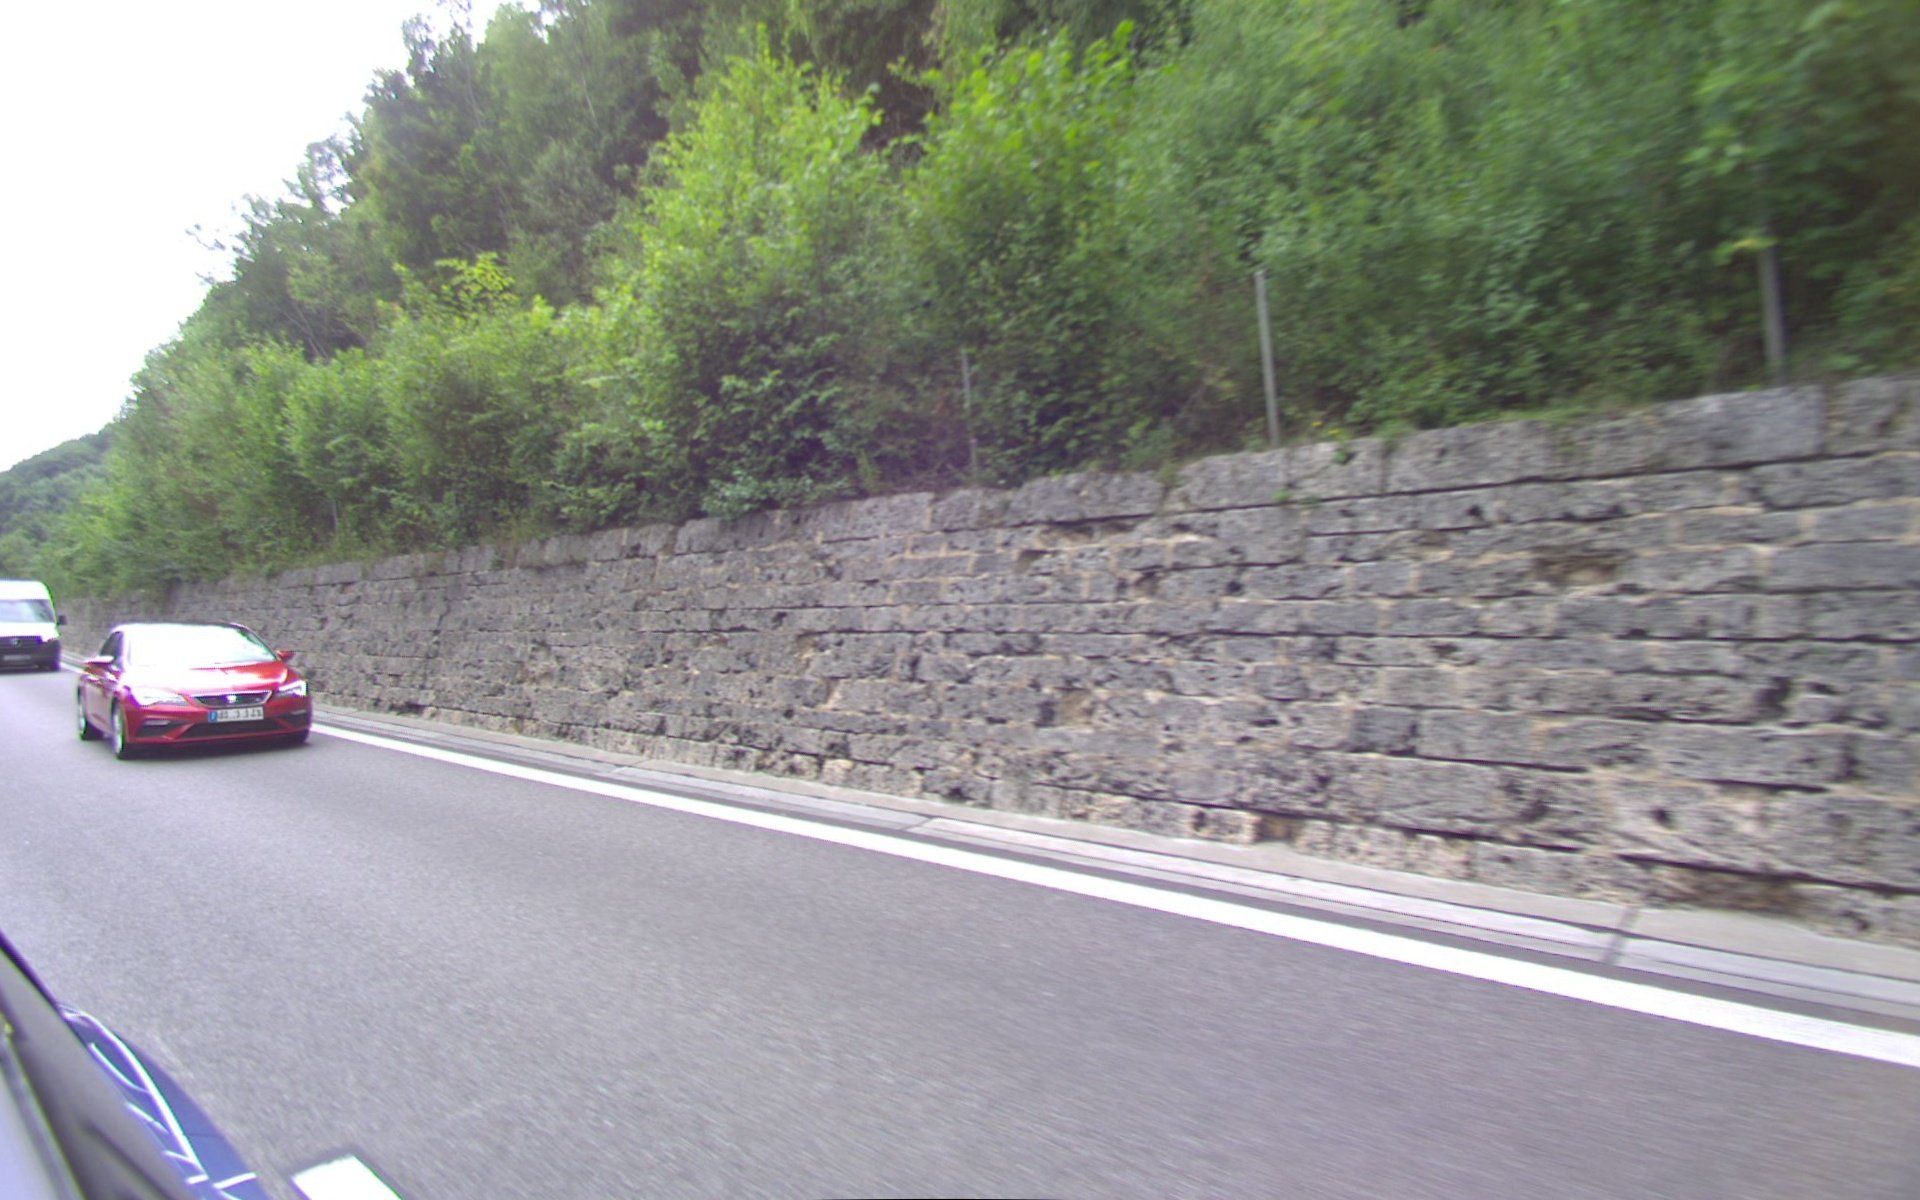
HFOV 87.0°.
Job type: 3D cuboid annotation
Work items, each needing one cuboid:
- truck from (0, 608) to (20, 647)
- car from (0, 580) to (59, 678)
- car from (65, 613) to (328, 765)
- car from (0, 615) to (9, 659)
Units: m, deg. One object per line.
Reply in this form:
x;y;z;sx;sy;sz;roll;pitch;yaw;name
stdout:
-59.288;1.712;62.209;1.969;2.297;6.595;-2;1;-41;truck
-27.739;0.808;29.337;6.277;2.605;2.003;-1;0;45;car
-9.241;0.912;12.097;4.411;1.471;1.747;-1;0;43;car
-46.211;1.762;47.654;1.970;1.967;6.154;-3;1;-42;car
